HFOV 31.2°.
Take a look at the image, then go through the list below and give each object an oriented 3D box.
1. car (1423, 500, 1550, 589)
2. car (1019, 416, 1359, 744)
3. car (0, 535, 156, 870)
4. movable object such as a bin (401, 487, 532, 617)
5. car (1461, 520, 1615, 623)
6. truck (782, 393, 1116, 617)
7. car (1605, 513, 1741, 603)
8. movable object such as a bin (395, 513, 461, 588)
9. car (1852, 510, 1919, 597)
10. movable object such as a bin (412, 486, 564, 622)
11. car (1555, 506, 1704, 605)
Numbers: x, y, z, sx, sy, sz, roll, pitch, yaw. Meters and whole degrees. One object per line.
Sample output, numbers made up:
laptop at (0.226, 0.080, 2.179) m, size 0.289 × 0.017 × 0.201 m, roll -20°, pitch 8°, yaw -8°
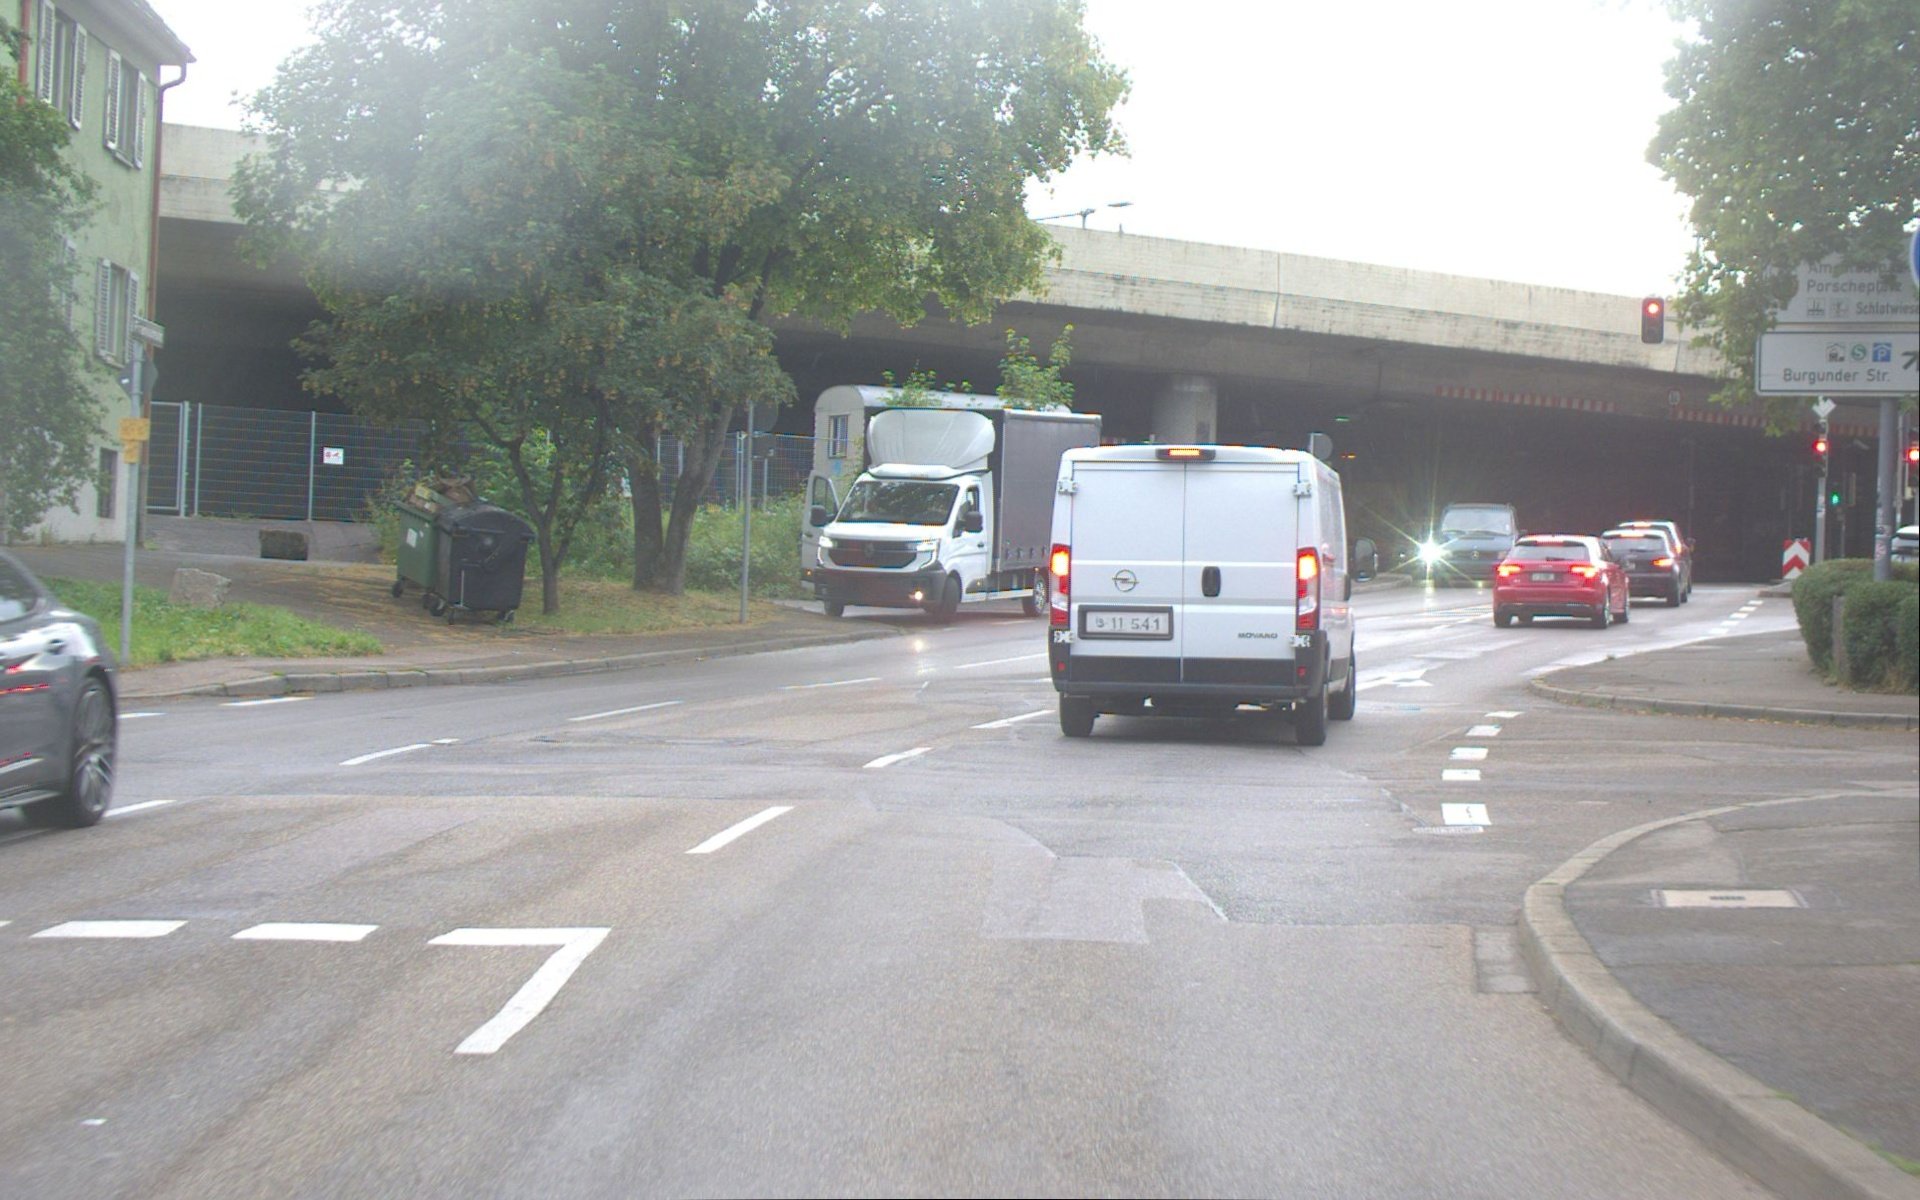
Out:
car at (11.966, -1.268, 77.881) m, size 1.959 × 1.924 × 4.679 m, roll 1°, pitch 1°, yaw 19°
car at (1.970, -0.182, 27.772) m, size 2.306 × 2.335 × 5.280 m, roll 2°, pitch 1°, yaw 8°
car at (-5.122, 0.436, 14.889) m, size 1.994 × 1.438 × 4.775 m, roll 0°, pitch 1°, yaw 2°
movable object such as a bin at (-6.311, -0.615, 43.901) m, size 1.097 × 1.432 × 1.463 m, roll 4°, pitch 5°, yaw -29°
car at (9.123, -0.453, 54.047) m, size 1.995 × 1.508 × 3.997 m, roll 2°, pitch 1°, yaw 15°
truck at (-0.016, -1.465, 53.945) m, size 2.613 × 3.225 × 7.768 m, roll 2°, pitch 2°, yaw 20°
car at (14.464, -0.848, 69.603) m, size 1.996 × 1.723 × 3.996 m, roll 2°, pitch 1°, yaw 21°
movable object such as a bin at (-7.004, -0.649, 45.264) m, size 0.557 × 0.954 × 0.723 m, roll 2°, pitch 1°, yaw 19°
car at (18.310, -0.835, 64.126) m, size 1.997 × 1.544 × 3.992 m, roll 2°, pitch 1°, yaw 34°
movable object such as a bin at (-5.843, -0.573, 42.498) m, size 1.290 × 1.432 × 1.463 m, roll 4°, pitch 5°, yaw -29°
car at (12.435, -0.811, 63.685) m, size 1.996 × 1.723 × 3.996 m, roll 2°, pitch 1°, yaw 21°
